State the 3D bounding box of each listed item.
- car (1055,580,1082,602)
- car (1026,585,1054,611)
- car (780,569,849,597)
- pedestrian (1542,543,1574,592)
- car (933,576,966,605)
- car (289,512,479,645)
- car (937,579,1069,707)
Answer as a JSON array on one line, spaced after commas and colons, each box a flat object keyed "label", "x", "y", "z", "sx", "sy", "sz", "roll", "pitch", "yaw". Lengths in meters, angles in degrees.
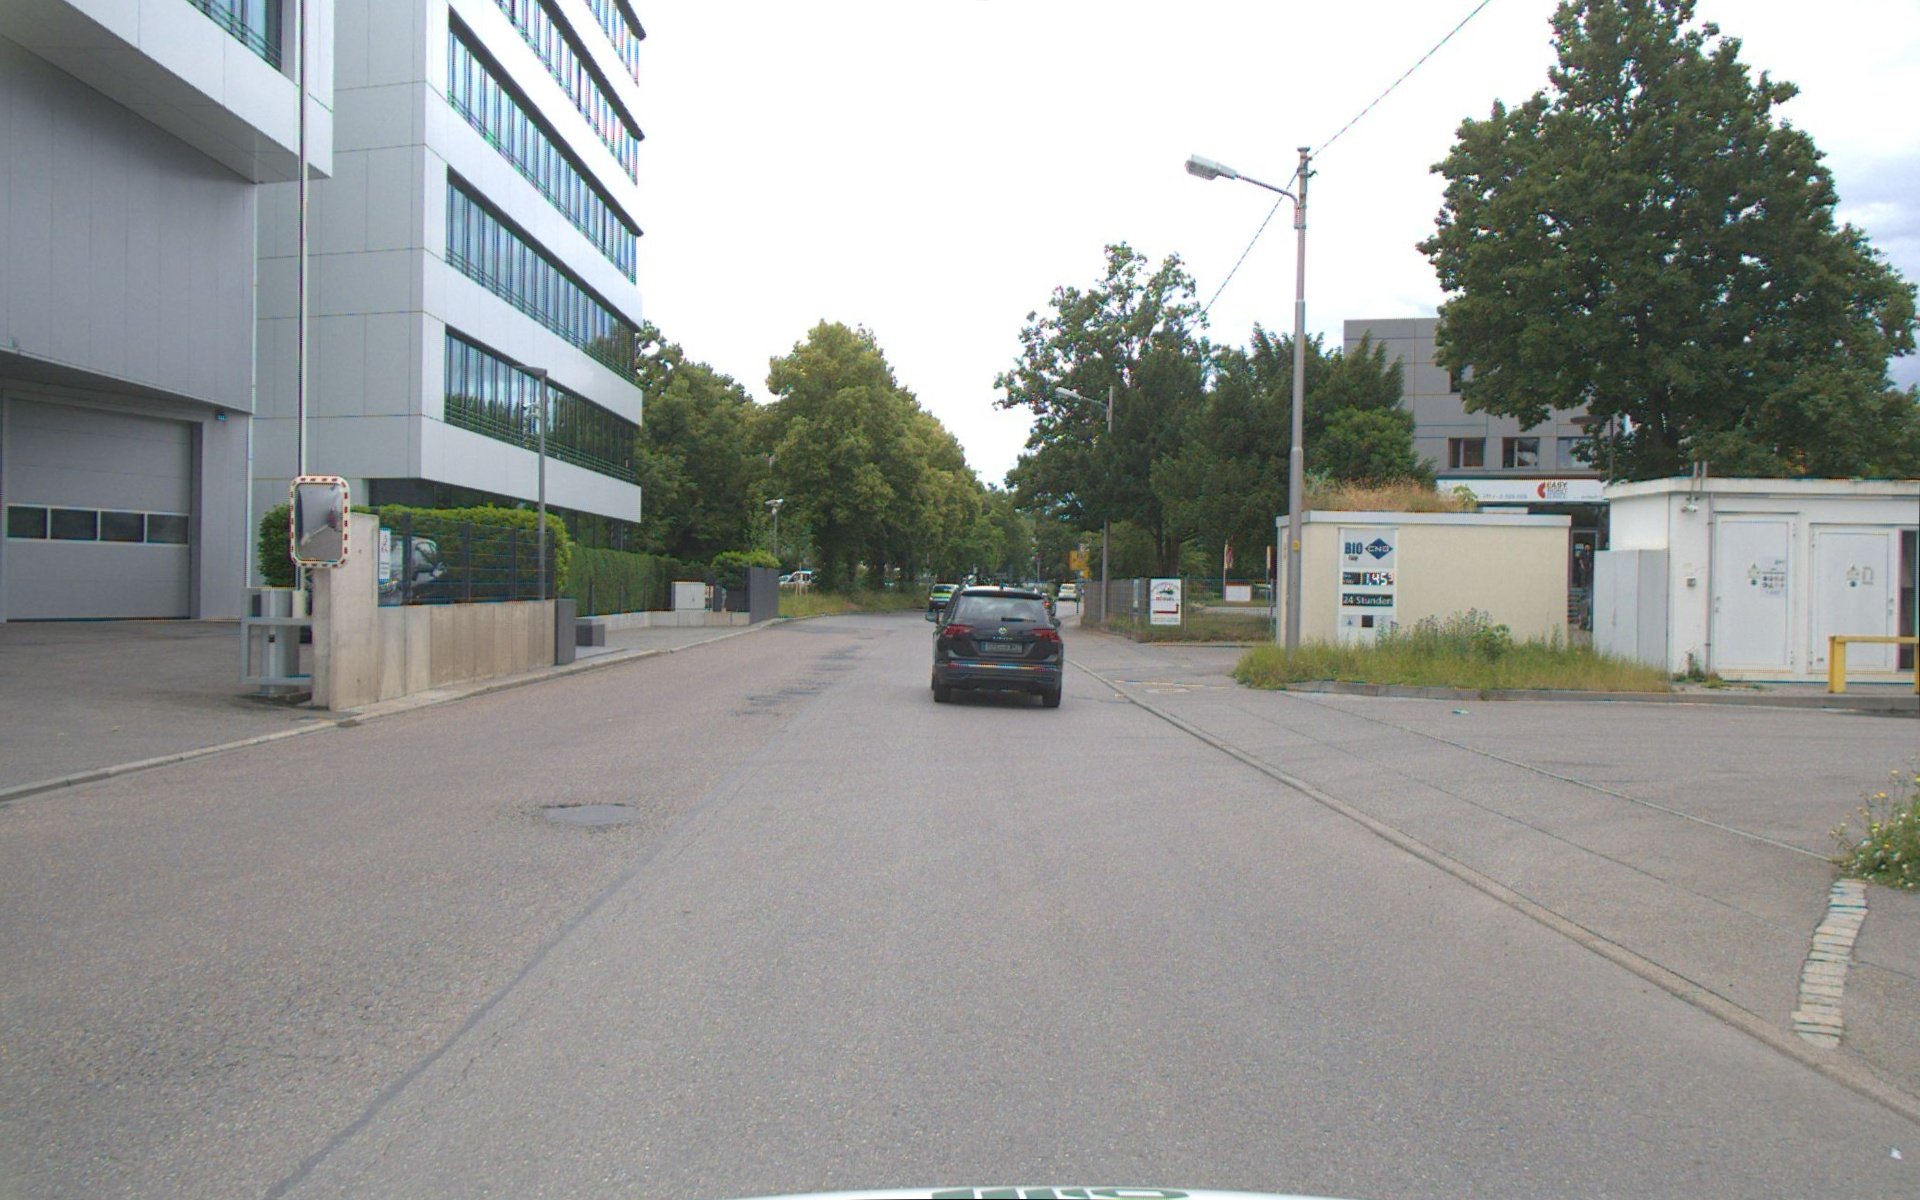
[{"label": "car", "x": 9.597, "y": -0.794, "z": 146.035, "sx": 1.951, "sy": 1.817, "sz": 4.003, "roll": 2, "pitch": 0, "yaw": 10}, {"label": "car", "x": 5.015, "y": -0.132, "z": 104.171, "sx": 1.625, "sy": 1.602, "sz": 3.829, "roll": 0, "pitch": 0, "yaw": 1}, {"label": "car", "x": -13.185, "y": -1.527, "z": 149.771, "sx": 5.944, "sy": 2.429, "sz": 2.395, "roll": 1, "pitch": 1, "yaw": 2}, {"label": "pedestrian", "x": 22.321, "y": -1.210, "z": 61.744, "sx": 0.903, "sy": 1.783, "sz": 0.793, "roll": 0, "pitch": 0, "yaw": 40}, {"label": "car", "x": -0.663, "y": -0.625, "z": 107.424, "sx": 1.770, "sy": 1.795, "sz": 4.207, "roll": 2, "pitch": 0, "yaw": 3}, {"label": "car", "x": -8.491, "y": -0.318, "z": 24.637, "sx": 1.616, "sy": 1.792, "sz": 3.179, "roll": 2, "pitch": 0, "yaw": 1}, {"label": "car", "x": 0.629, "y": 0.580, "z": 23.981, "sx": 1.703, "sy": 1.646, "sz": 3.642, "roll": 2, "pitch": 0, "yaw": 2}]
